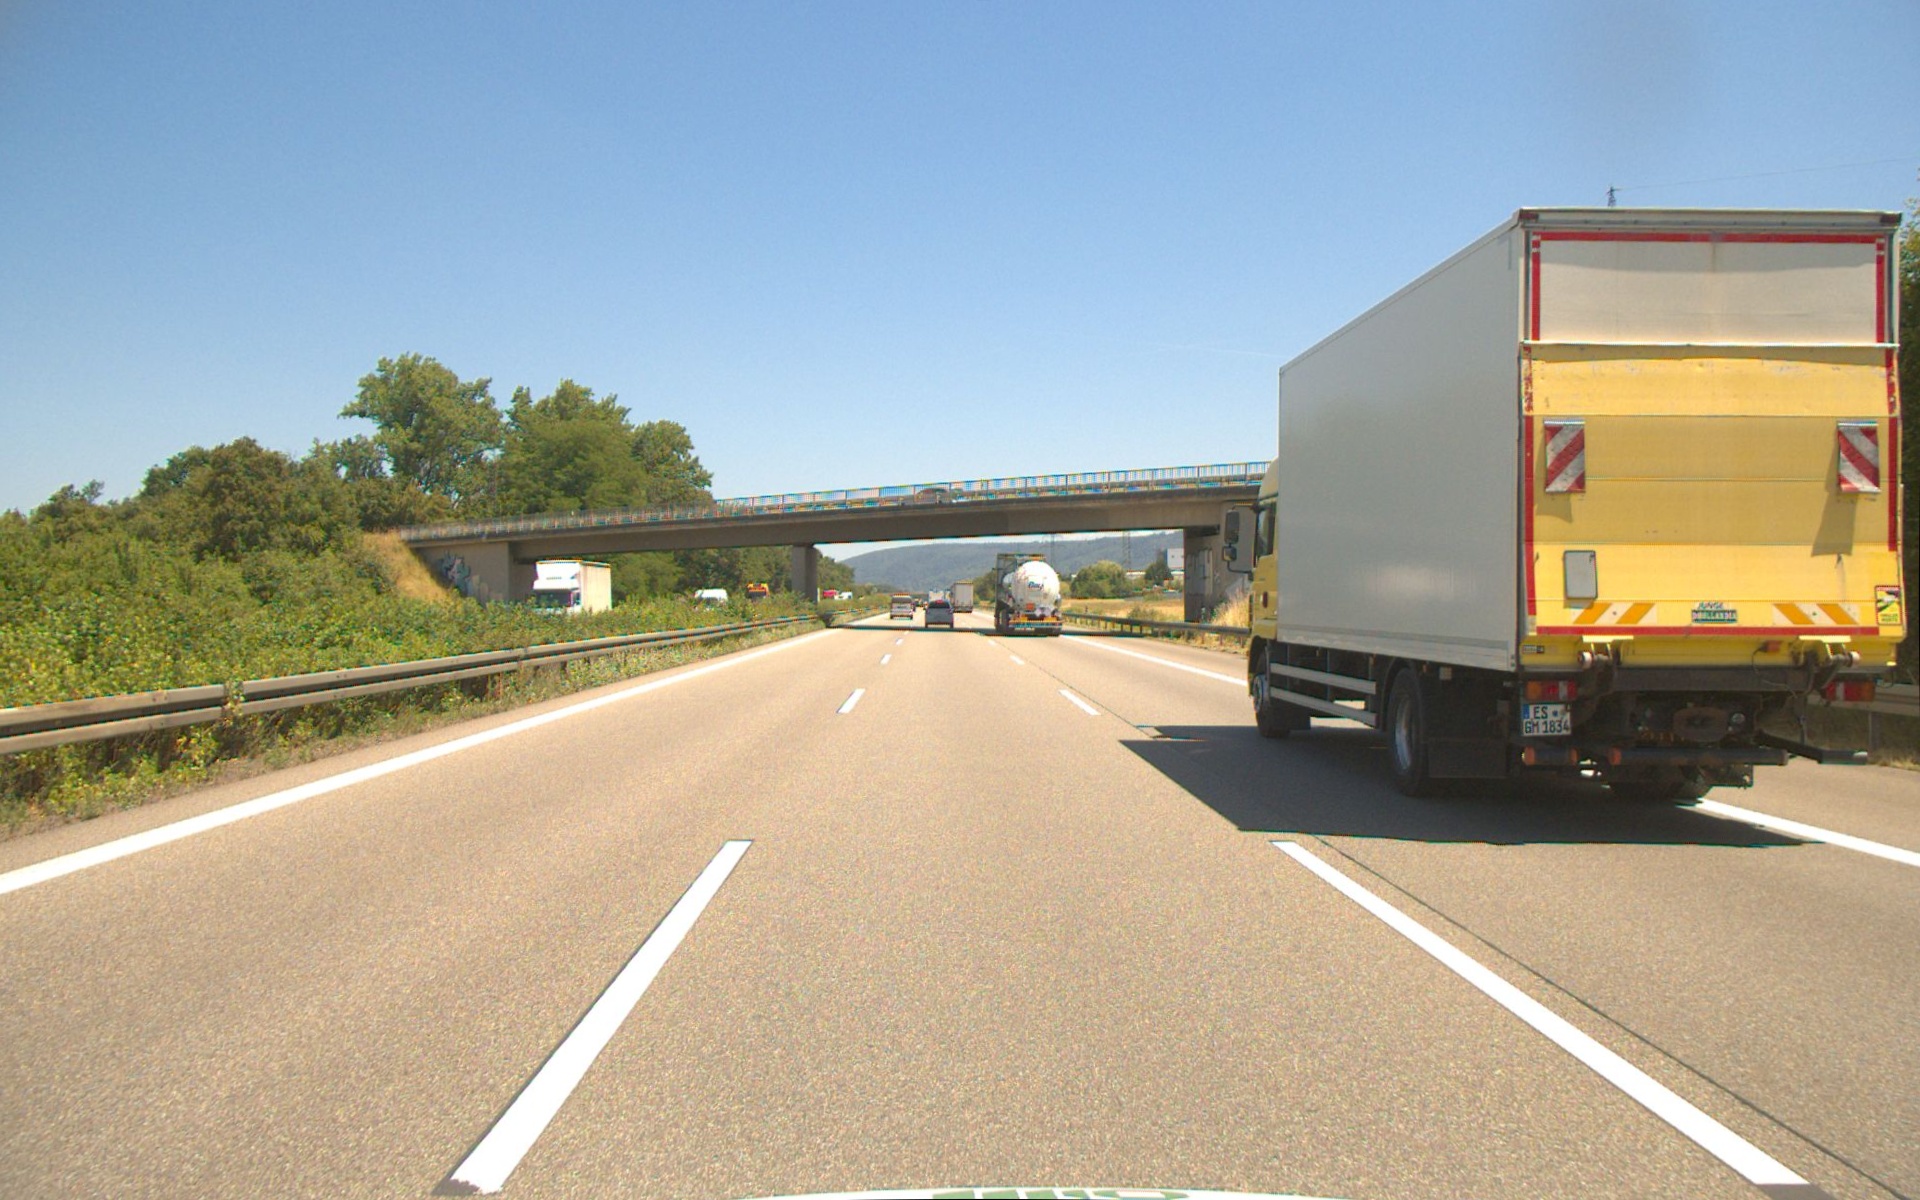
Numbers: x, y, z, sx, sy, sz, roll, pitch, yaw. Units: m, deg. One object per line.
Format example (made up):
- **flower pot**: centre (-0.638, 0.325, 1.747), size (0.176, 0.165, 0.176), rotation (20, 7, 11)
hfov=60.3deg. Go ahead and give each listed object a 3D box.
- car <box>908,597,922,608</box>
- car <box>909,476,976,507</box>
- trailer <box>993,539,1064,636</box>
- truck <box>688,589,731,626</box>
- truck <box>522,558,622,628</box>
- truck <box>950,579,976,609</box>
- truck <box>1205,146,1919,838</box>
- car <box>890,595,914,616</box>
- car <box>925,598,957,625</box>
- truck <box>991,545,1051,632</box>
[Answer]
- **car**: centre (-6.163, 0.302, 227.866), size (1.798, 1.411, 3.999), rotation (1, 0, -1)
- **car**: centre (-1.021, -6.072, 93.014), size (1.624, 1.494, 3.942), rotation (1, 0, -40)
- **trailer**: centre (3.090, -0.555, 77.302), size (2.528, 4.145, 11.100), rotation (1, 0, -1)
- **truck**: centre (-17.283, 0.528, 114.409), size (1.953, 2.440, 6.419), rotation (1, 0, 0)
- **truck**: centre (-21.319, -0.372, 91.508), size (2.818, 3.559, 10.736), rotation (1, 0, 1)
- **truck**: centre (0.308, -0.825, 227.504), size (3.199, 3.925, 11.628), rotation (1, 0, -1)
- **truck**: centre (4.699, -0.676, 15.714), size (2.874, 4.273, 10.679), rotation (1, 0, -1)
- **car**: centre (-4.775, 0.469, 136.117), size (1.814, 1.661, 3.999), rotation (1, 0, -1)
- **car**: centre (-1.084, 0.630, 94.431), size (1.770, 1.494, 3.999), rotation (1, 0, -1)
- **truck**: centre (2.970, -0.561, 82.441), size (2.521, 4.143, 6.391), rotation (1, 0, -1)
